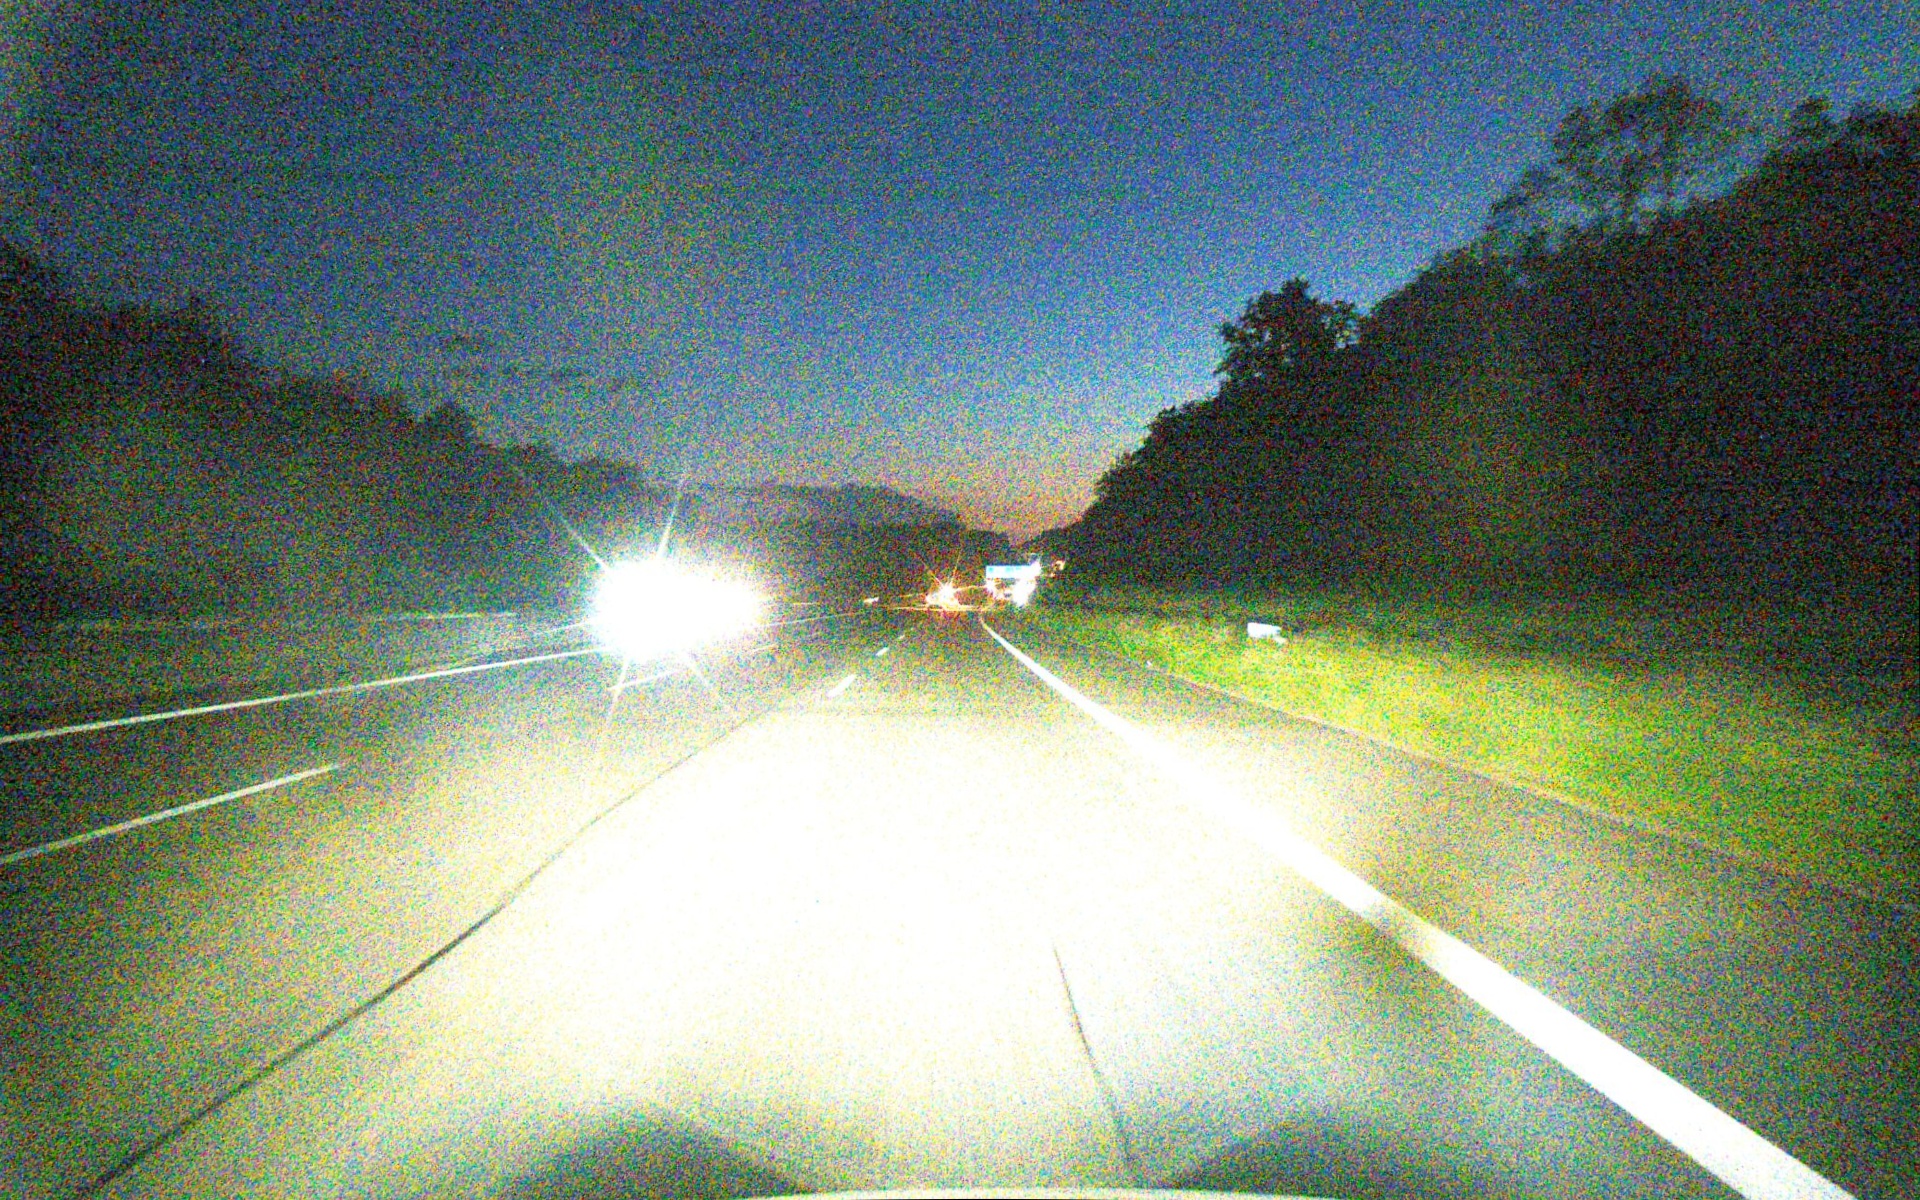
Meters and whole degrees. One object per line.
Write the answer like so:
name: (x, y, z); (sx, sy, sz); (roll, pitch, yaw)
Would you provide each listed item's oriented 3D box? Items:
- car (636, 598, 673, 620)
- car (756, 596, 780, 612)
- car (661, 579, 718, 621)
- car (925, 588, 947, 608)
car: (-22.919, 0.651, 124.393); (2.010, 1.626, 5.075); (0, 0, -2)
car: (-18.674, 0.354, 160.694); (1.823, 1.524, 4.705); (0, 0, -1)
car: (-19.145, -0.013, 117.604); (2.893, 2.907, 7.716); (0, 0, -1)
car: (-2.851, -0.275, 198.685); (2.459, 2.354, 4.971); (0, 0, 1)
